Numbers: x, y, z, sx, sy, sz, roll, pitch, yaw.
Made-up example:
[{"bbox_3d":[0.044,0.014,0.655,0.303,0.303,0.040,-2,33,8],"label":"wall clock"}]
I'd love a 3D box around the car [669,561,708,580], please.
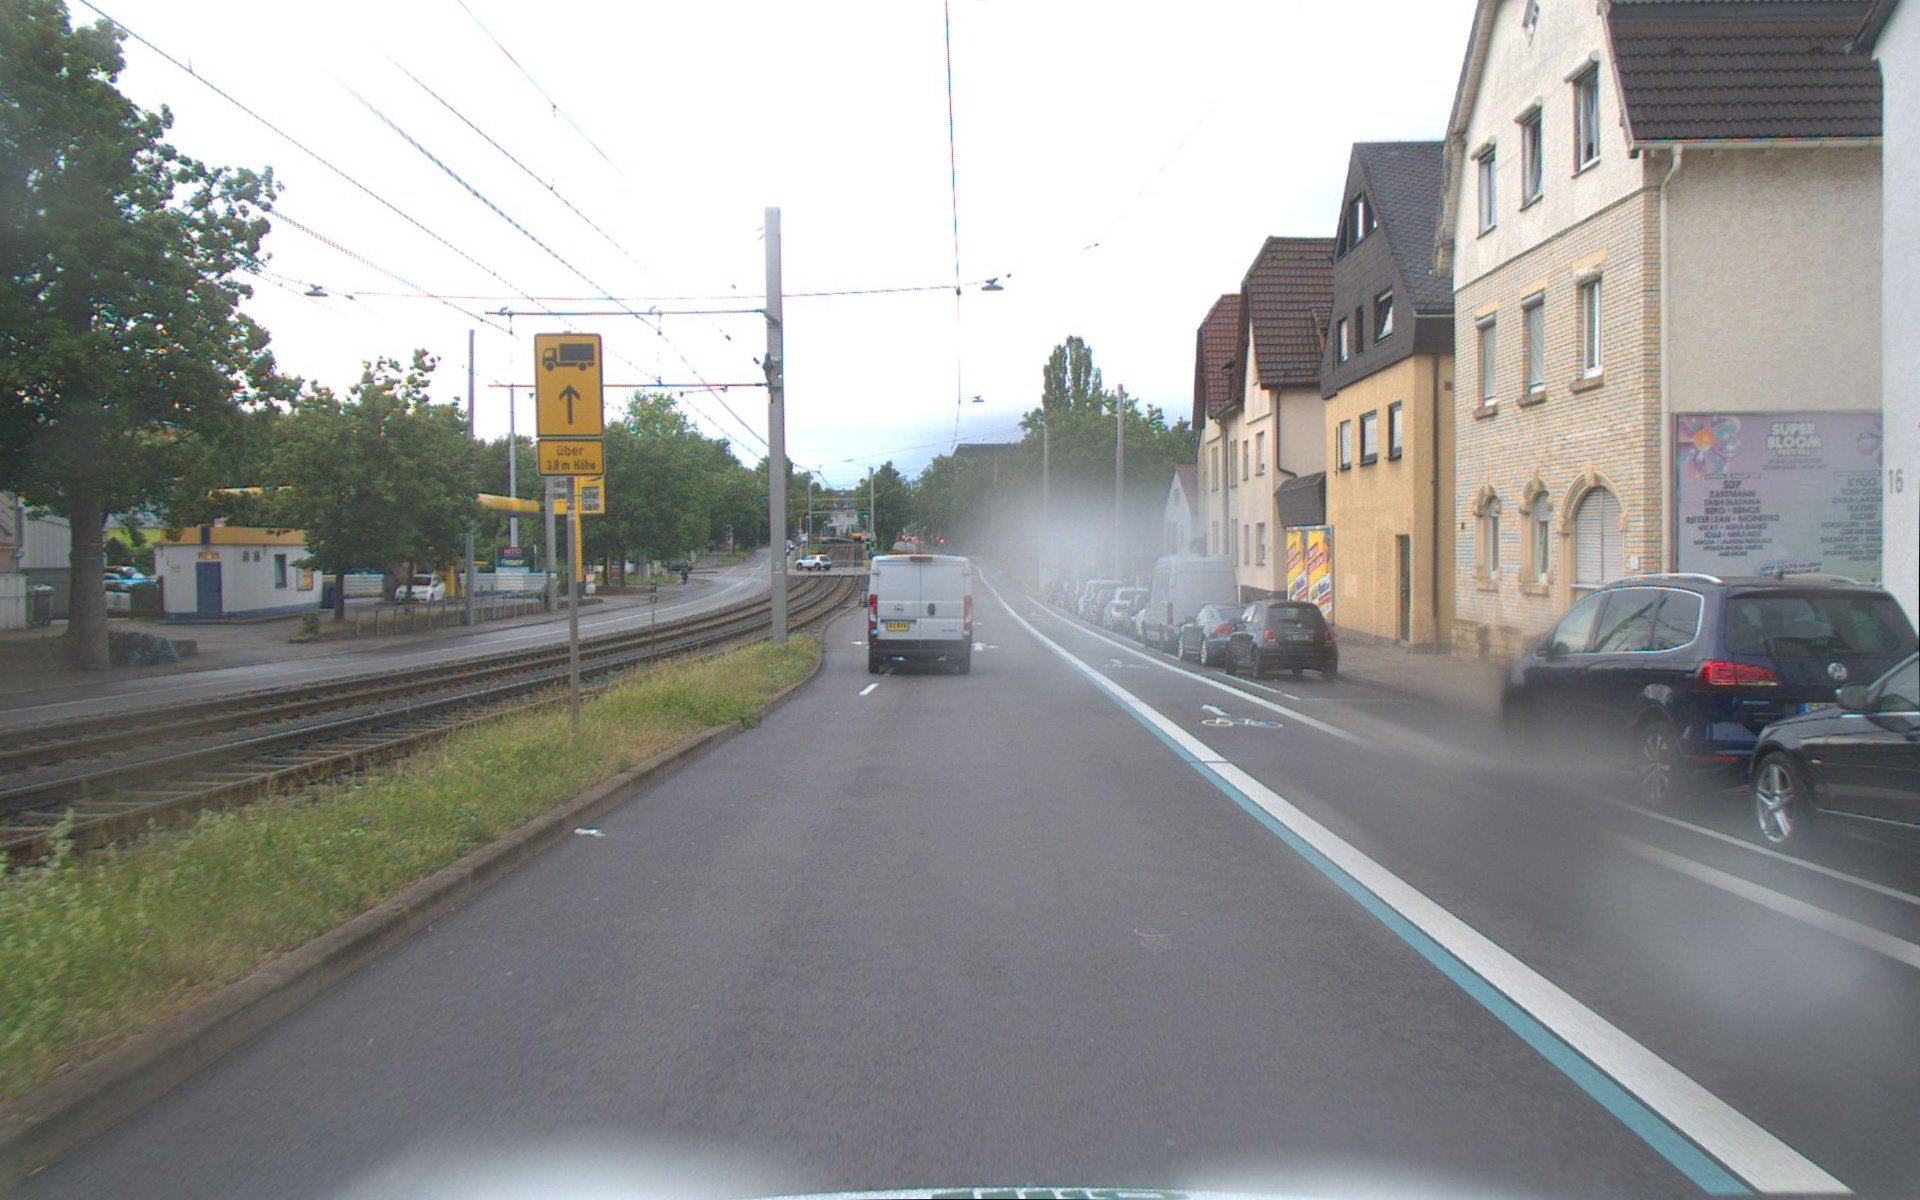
[{"bbox_3d":[-28.137,-3.029,171.354,3.913,1.881,1.996,-1,0,-9],"label":"car"}]

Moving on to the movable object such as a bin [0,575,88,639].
[{"bbox_3d":[-30.513,0.192,54.733,1.958,1.952,3.562,1,1,-12],"label":"movable object such as a bin"}]

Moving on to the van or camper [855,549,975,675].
[{"bbox_3d":[-0.977,0.219,32.947,2.155,2.292,4.680,1,0,-4],"label":"van or camper"}]

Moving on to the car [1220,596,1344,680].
[{"bbox_3d":[6.322,0.706,32.799,1.534,1.524,3.510,2,0,-4],"label":"car"}]

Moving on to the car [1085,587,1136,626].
[{"bbox_3d":[6.044,0.240,66.941,1.613,1.471,3.954,1,1,-1],"label":"car"}]

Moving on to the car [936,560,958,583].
[{"bbox_3d":[-1.247,-2.613,154.663,1.953,2.049,3.999,1,0,-1],"label":"car"}]

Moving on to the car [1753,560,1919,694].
[{"bbox_3d":[13.024,0.306,22.167,3.907,1.682,1.870,-1,1,-3],"label":"car"}]

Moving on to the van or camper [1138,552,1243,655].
[{"bbox_3d":[6.270,0.033,45.733,1.953,2.608,6.043,1,1,-1],"label":"van or camper"}]

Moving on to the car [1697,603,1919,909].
[{"bbox_3d":[5.768,0.837,8.998,1.600,1.565,4.135,2,0,-1],"label":"car"}]

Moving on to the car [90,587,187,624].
[{"bbox_3d":[-35.499,0.222,71.551,3.718,1.505,1.562,2,0,-27],"label":"car"}]

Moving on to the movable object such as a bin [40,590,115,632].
[{"bbox_3d":[-31.599,0.376,59.266,1.958,1.399,1.565,1,1,-12],"label":"movable object such as a bin"}]

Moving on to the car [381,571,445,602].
[{"bbox_3d":[-26.951,-0.650,81.579,1.954,1.467,3.998,1,0,-3],"label":"car"}]

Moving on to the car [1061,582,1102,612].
[{"bbox_3d":[6.606,-0.172,90.347,1.810,1.526,3.953,1,0,-2],"label":"car"}]

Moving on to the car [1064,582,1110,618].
[{"bbox_3d":[6.321,-0.044,82.617,1.810,1.674,3.953,1,1,-2],"label":"car"}]

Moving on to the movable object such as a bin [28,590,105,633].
[{"bbox_3d":[-31.036,0.392,57.481,1.958,1.399,1.565,1,1,-12],"label":"movable object such as a bin"}]

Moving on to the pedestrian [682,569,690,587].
[{"bbox_3d":[-22.460,-1.822,135.595,0.602,1.501,0.641,-1,0,-14],"label":"pedestrian"}]

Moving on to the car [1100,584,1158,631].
[{"bbox_3d":[6.251,0.251,61.522,1.613,1.643,4.104,1,1,-1],"label":"car"}]

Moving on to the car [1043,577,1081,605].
[{"bbox_3d":[5.915,-0.532,96.001,1.810,1.526,3.953,1,0,-2],"label":"car"}]

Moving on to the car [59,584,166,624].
[{"bbox_3d":[-33.901,0.161,66.250,3.718,1.479,1.539,2,0,-27],"label":"car"}]

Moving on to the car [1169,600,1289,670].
[{"bbox_3d":[6.198,0.774,38.646,1.753,1.430,4.549,1,1,-4],"label":"car"}]

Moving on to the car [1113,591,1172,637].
[{"bbox_3d":[6.206,0.449,56.427,1.592,1.473,3.708,1,1,0],"label":"car"}]

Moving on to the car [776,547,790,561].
[{"bbox_3d":[-23.641,-6.196,221.007,1.656,1.741,3.775,1,0,-2],"label":"car"}]

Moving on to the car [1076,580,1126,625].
[{"bbox_3d":[6.155,0.083,72.657,1.711,1.839,3.953,1,1,-2],"label":"car"}]

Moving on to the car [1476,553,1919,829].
[{"bbox_3d":[5.927,0.617,13.624,1.802,1.831,4.686,2,0,-1],"label":"car"}]

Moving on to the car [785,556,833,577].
[{"bbox_3d":[-15.527,-3.434,170.356,4.420,2.049,2.000,1,0,21],"label":"car"}]

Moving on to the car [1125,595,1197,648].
[{"bbox_3d":[6.222,0.645,51.550,1.674,1.471,4.040,1,1,0],"label":"car"}]
